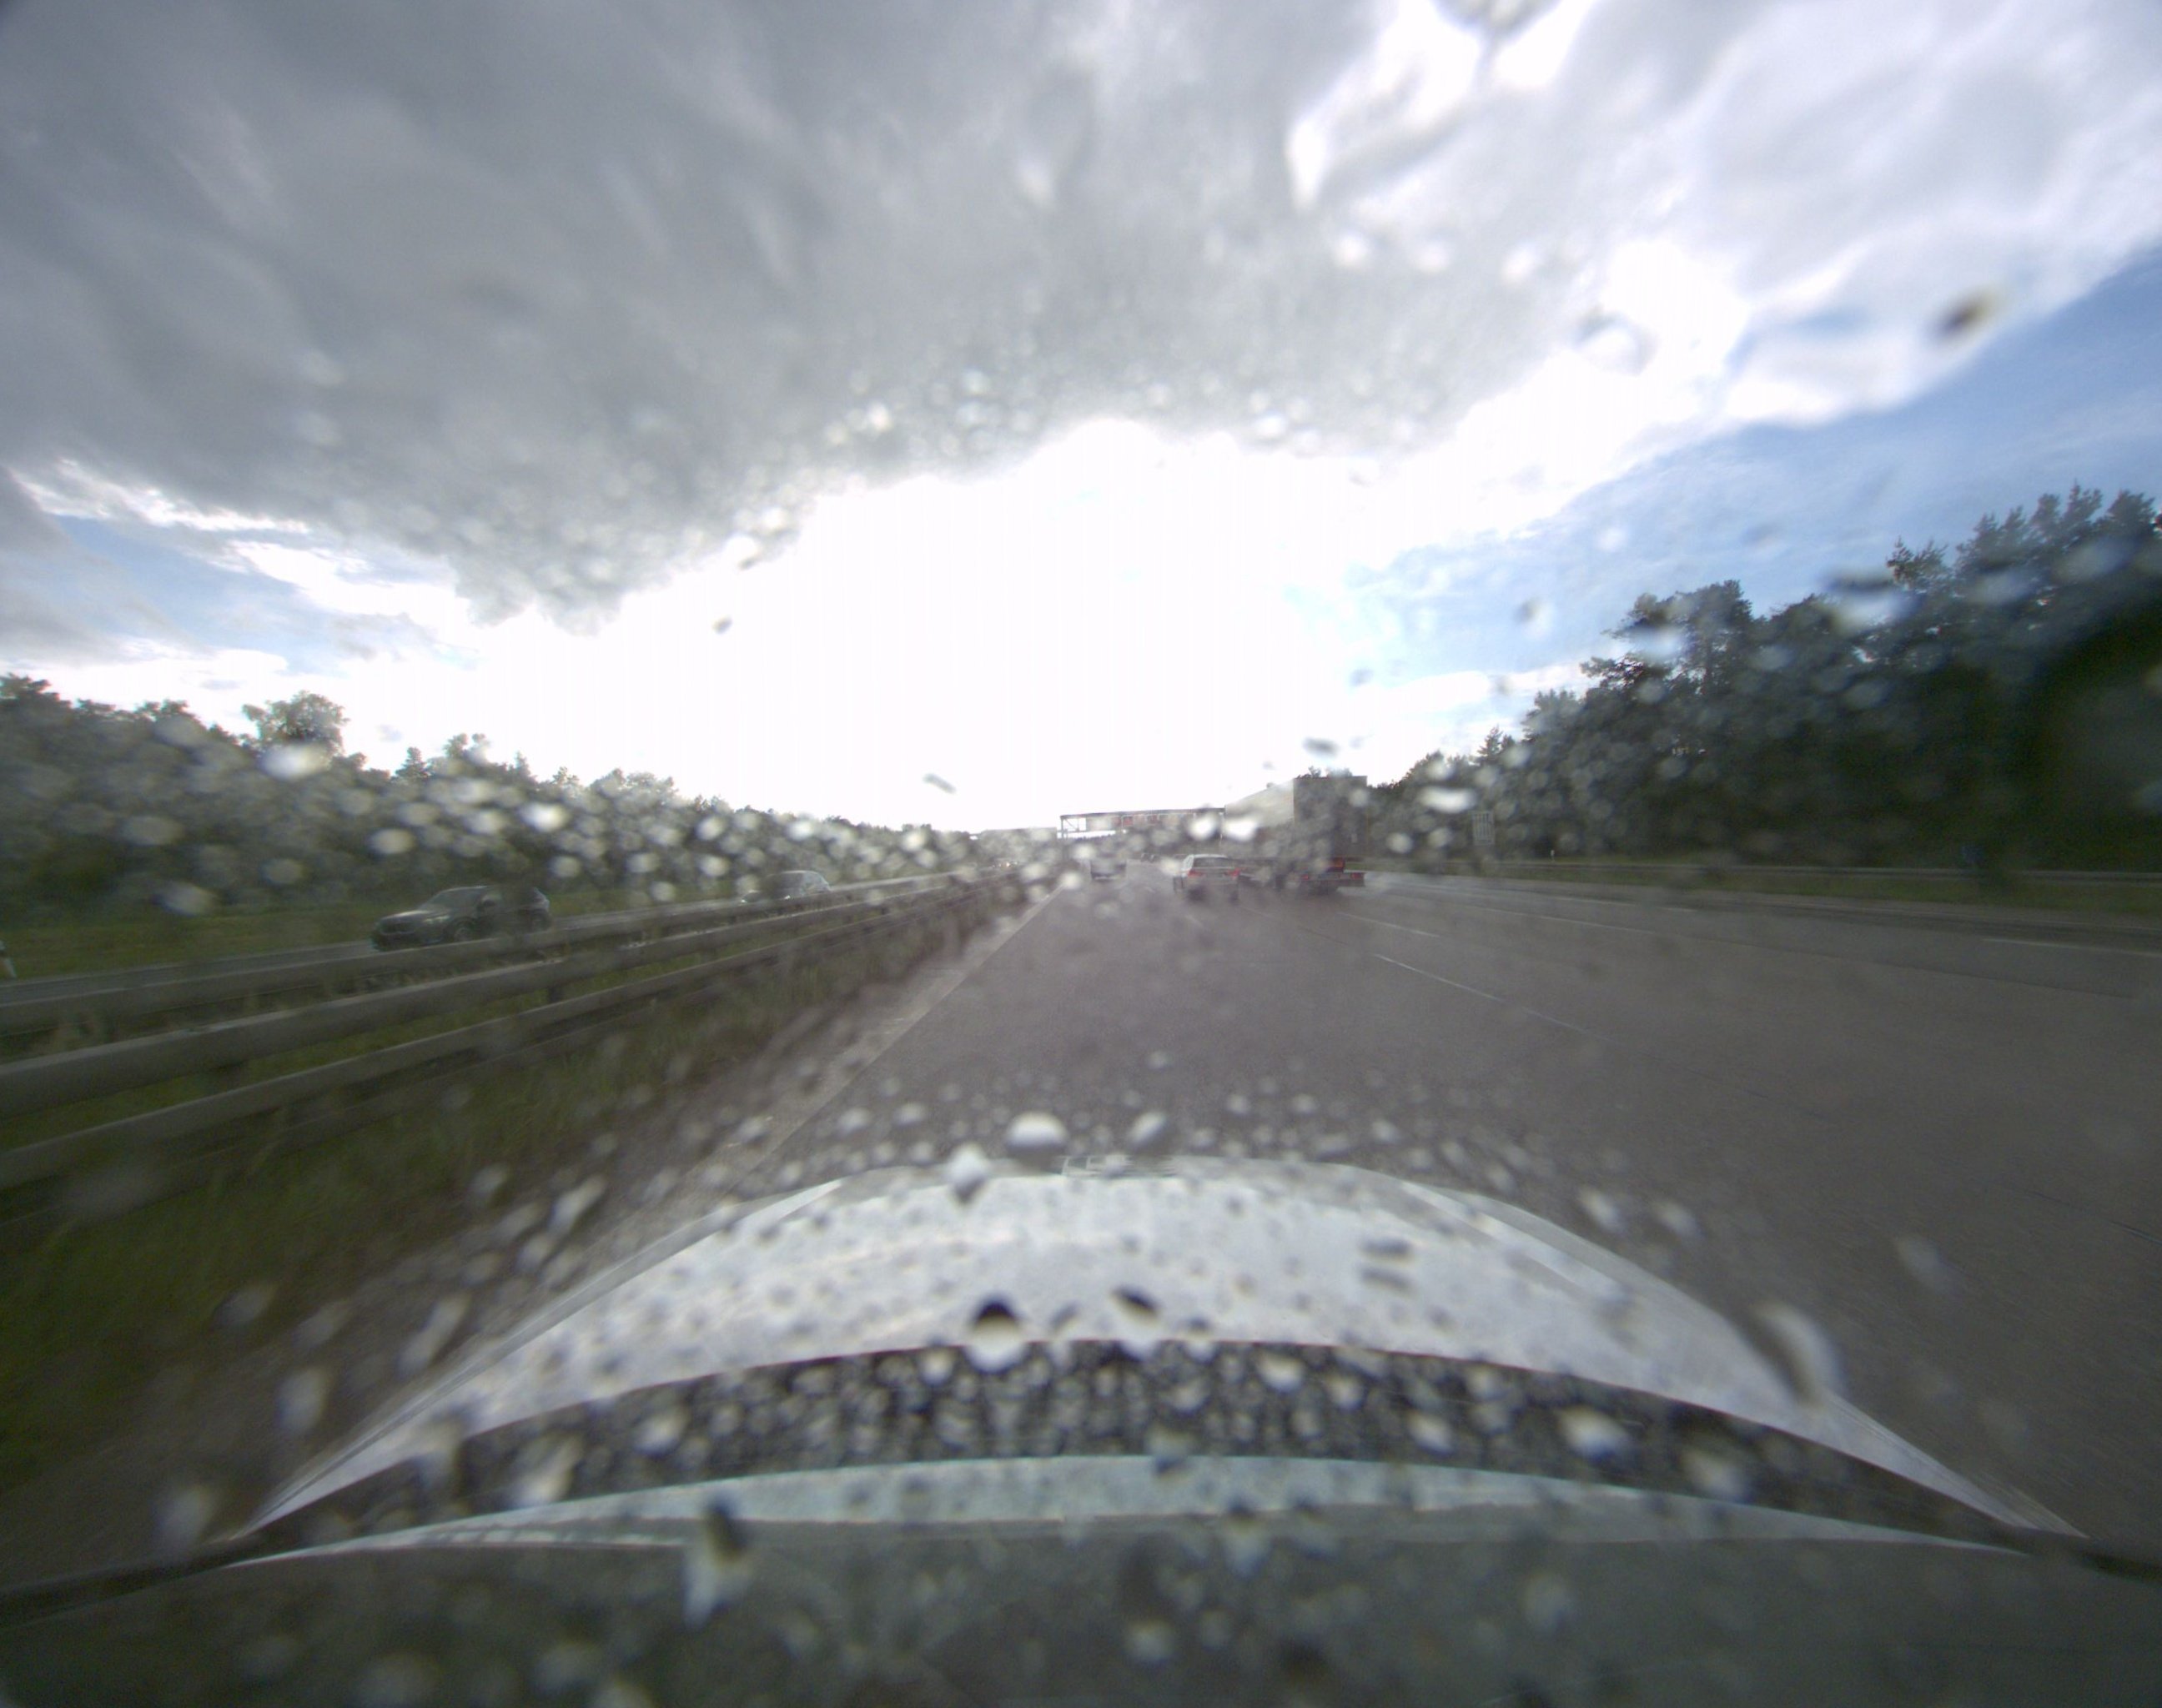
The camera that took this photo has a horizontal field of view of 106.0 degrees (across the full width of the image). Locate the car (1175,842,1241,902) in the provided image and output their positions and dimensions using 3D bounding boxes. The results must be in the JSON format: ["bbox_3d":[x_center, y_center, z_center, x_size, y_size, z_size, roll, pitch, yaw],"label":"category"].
[{"bbox_3d":[4.329,0.567,28.383,2.067,1.885,5.020,-1,0,6],"label":"car"}]

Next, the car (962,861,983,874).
[{"bbox_3d":[-14.155,1.746,106.774,1.986,1.500,4.609,-4,0,1],"label":"car"}]

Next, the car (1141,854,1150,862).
[{"bbox_3d":[13.574,0.831,172.032,1.735,1.688,4.000,-1,0,1],"label":"car"}]

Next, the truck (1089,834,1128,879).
[{"bbox_3d":[1.690,0.159,48.482,2.128,2.489,5.317,-1,0,3],"label":"truck"}]

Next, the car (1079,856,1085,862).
[{"bbox_3d":[0.316,1.609,256.884,1.788,2.013,4.002,0,0,2],"label":"car"}]

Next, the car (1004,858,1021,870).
[{"bbox_3d":[-10.058,1.476,120.032,1.986,1.609,4.609,-1,0,1],"label":"car"}]

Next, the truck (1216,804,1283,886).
[{"bbox_3d":[8.498,-0.418,41.643,2.286,3.868,5.392,-1,0,1],"label":"truck"}]

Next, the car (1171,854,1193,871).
[{"bbox_3d":[9.318,0.756,75.139,1.822,1.466,4.006,-1,0,5],"label":"car"}]

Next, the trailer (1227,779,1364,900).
[{"bbox_3d":[8.409,-0.470,34.073,2.316,4.001,13.412,-1,0,1],"label":"trailer"}]

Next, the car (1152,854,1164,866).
[{"bbox_3d":[13.995,1.064,148.082,1.985,2.013,4.004,0,0,4],"label":"car"}]

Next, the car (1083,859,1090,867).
[{"bbox_3d":[1.447,2.209,210.972,1.611,2.013,4.000,0,0,0],"label":"car"}]

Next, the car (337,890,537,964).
[{"bbox_3d":[-16.253,1.778,20.874,1.868,1.472,3.999,-3,0,0],"label":"car"}]

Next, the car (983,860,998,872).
[{"bbox_3d":[-16.190,2.140,146.464,1.987,1.917,4.724,-4,0,1],"label":"car"}]

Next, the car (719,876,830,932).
[{"bbox_3d":[-9.334,1.490,25.152,1.868,1.431,3.999,-2,0,0],"label":"car"}]
